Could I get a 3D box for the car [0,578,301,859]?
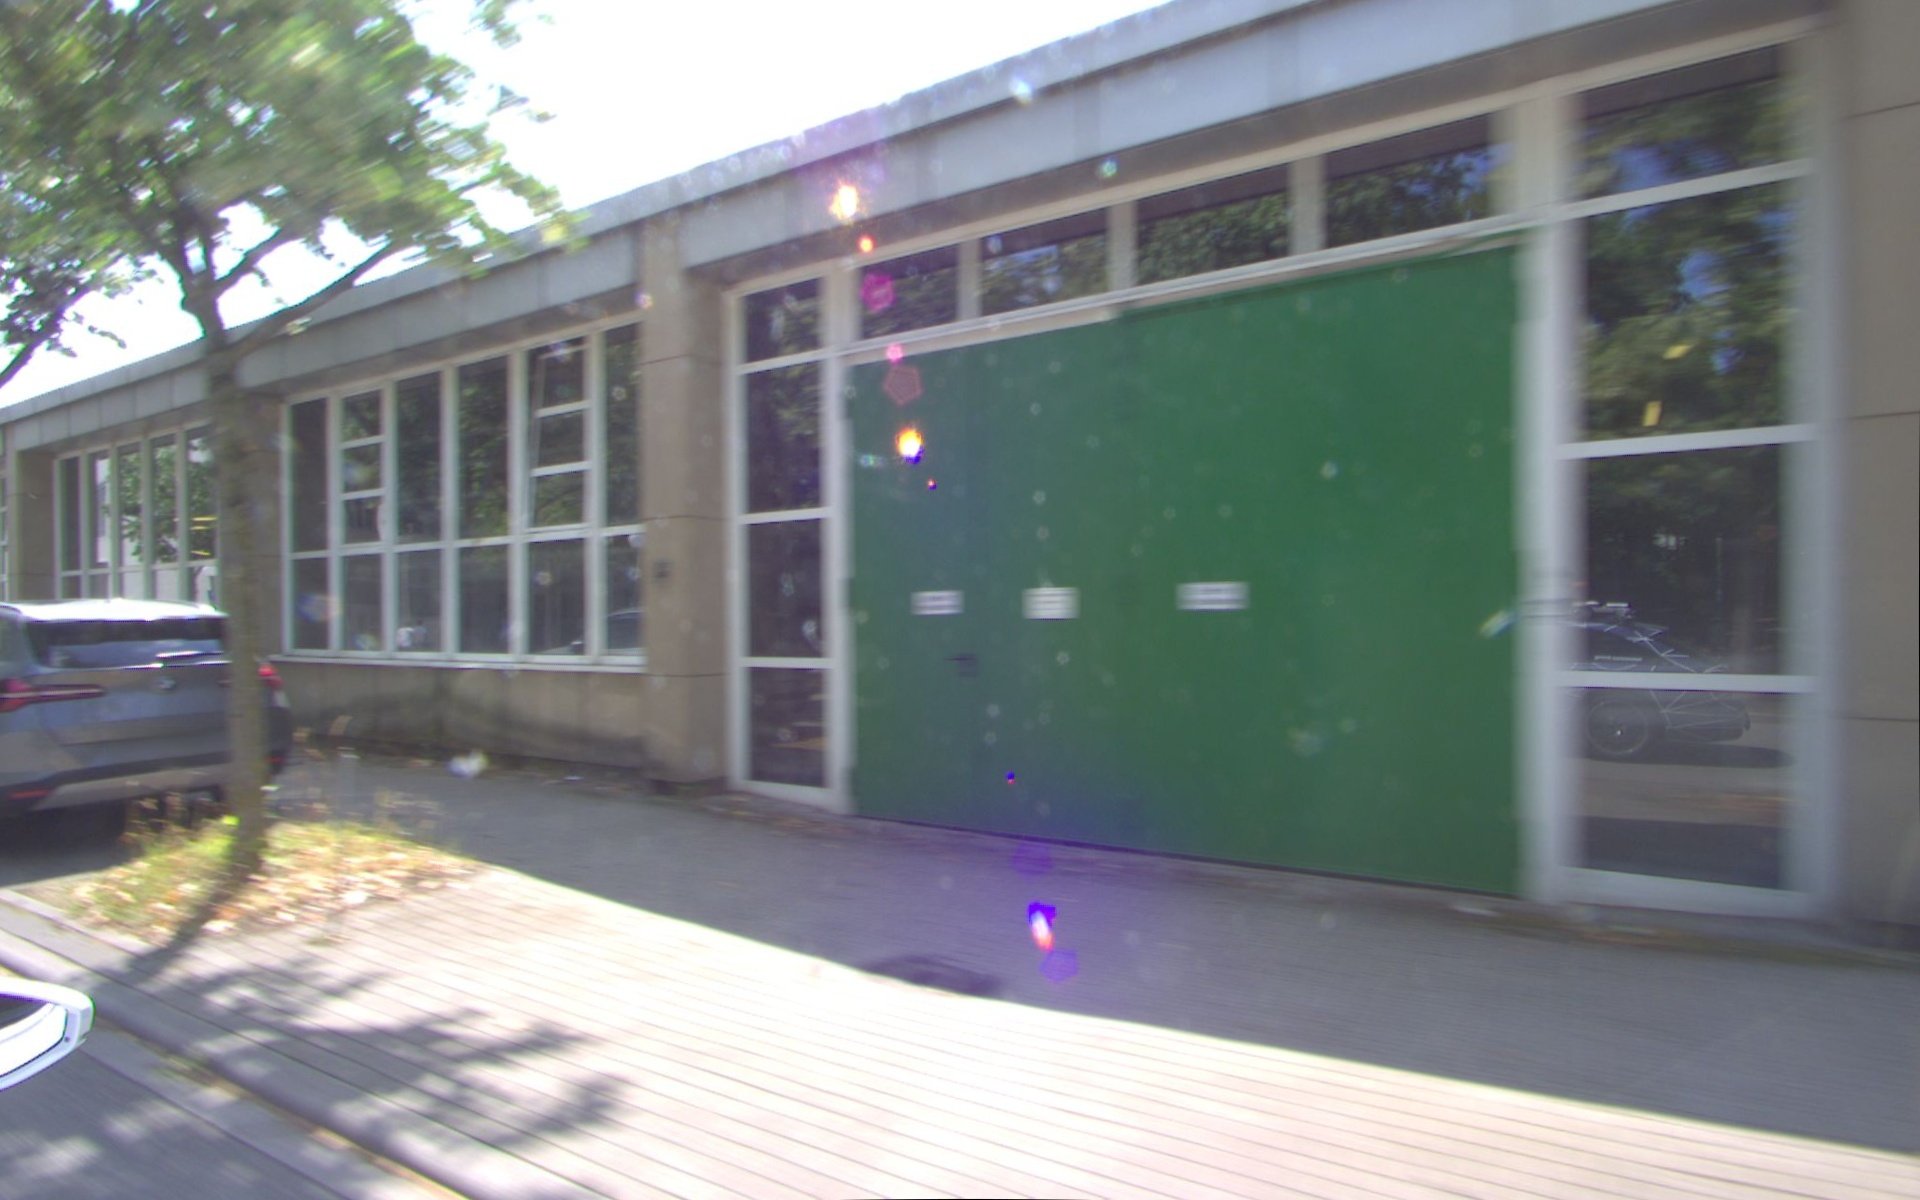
[{"bbox_3d":[-7.334,0.783,7.831,4.517,1.685,1.819,-2,-1,31],"label":"car"}]
